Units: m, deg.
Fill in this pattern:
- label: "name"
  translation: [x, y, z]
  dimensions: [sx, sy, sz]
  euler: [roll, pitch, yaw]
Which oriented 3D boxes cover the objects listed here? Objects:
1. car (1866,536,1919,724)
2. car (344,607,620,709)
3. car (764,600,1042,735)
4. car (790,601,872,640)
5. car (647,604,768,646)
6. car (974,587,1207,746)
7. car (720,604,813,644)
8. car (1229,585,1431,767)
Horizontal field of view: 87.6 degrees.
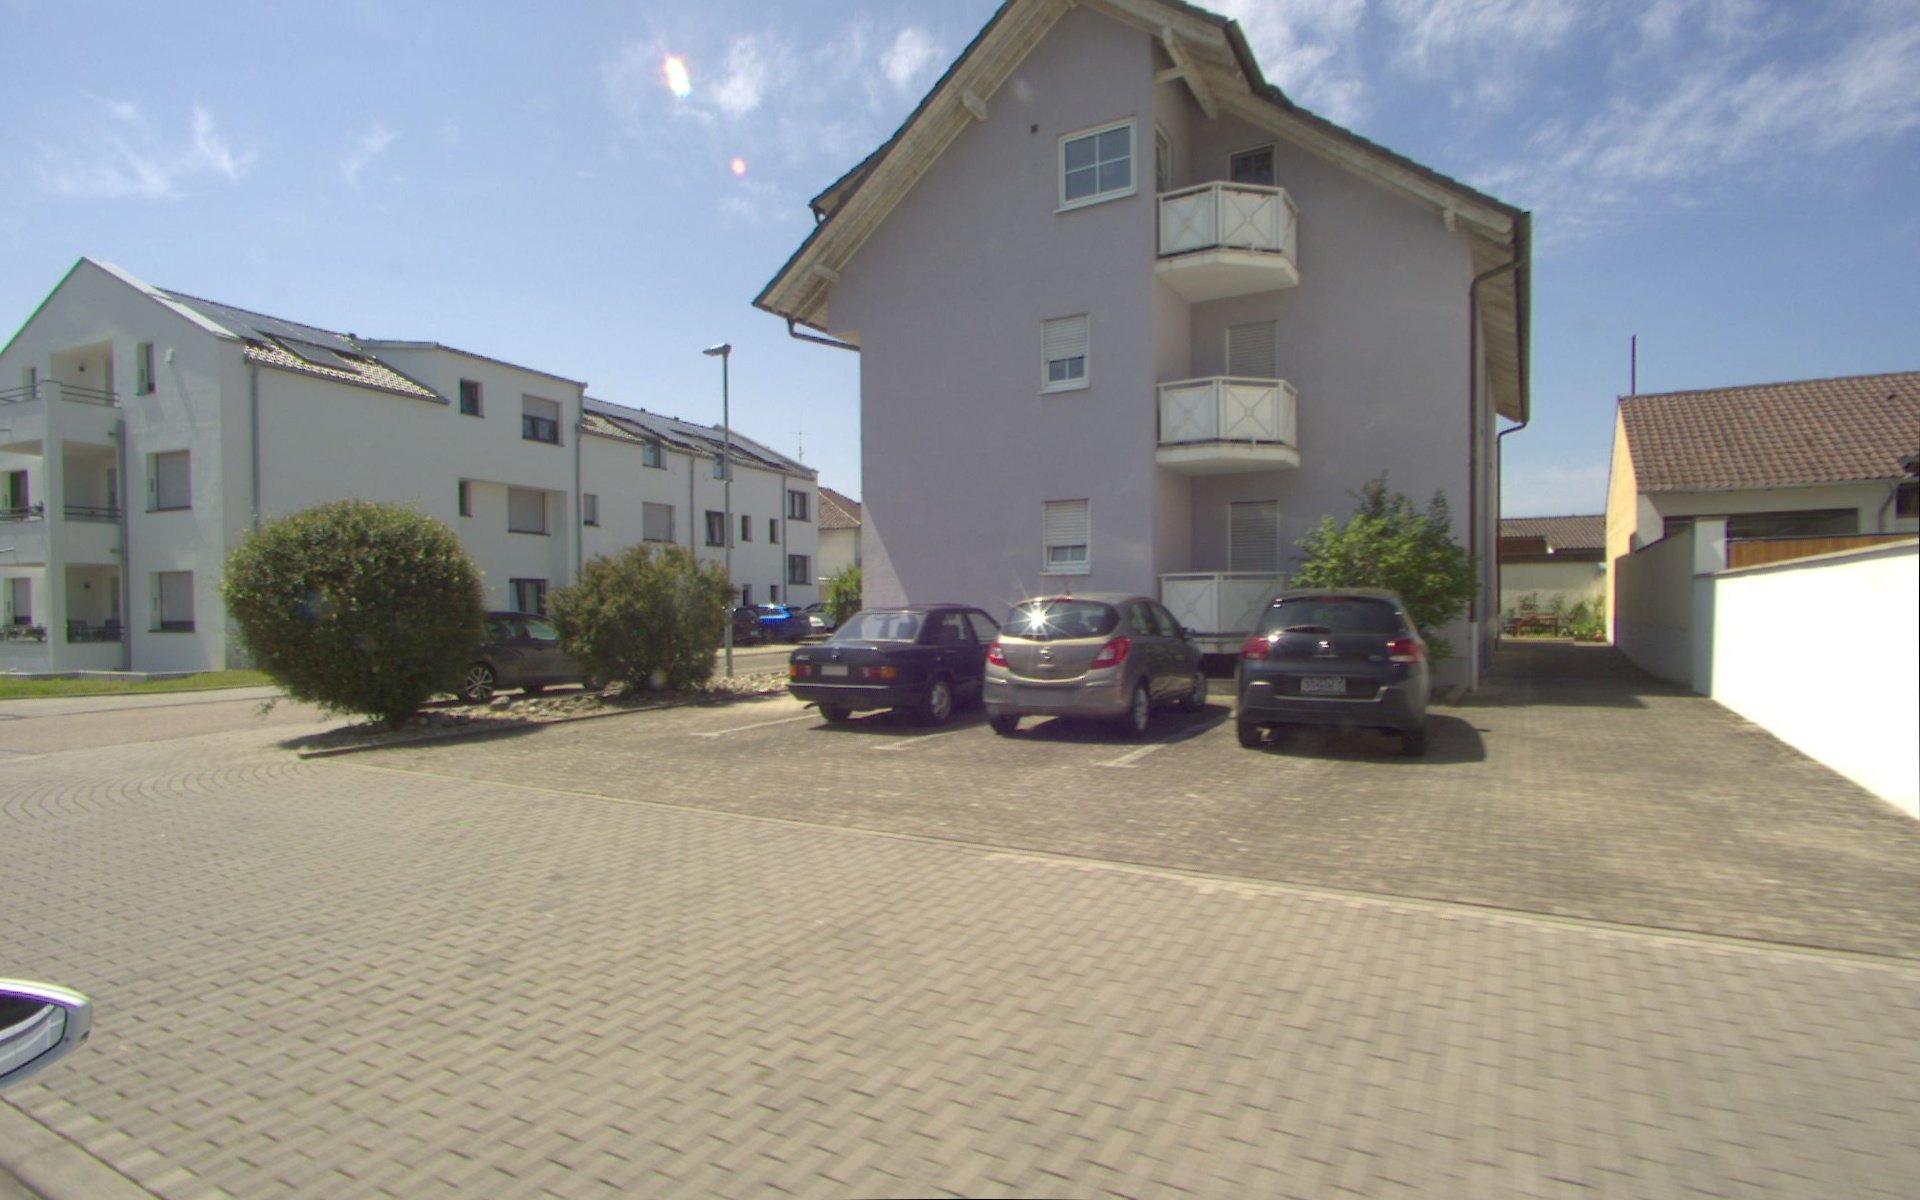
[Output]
- label: "car"
  translation: [10.108, 0.289, 9.308]
  dimensions: [1.744, 1.836, 3.382]
  euler: [0, 0, 29]
- label: "car"
  translation: [-7.851, 0.869, 16.850]
  dimensions: [1.728, 1.487, 3.990]
  euler: [0, 0, 26]
- label: "car"
  translation: [-0.509, 0.707, 12.584]
  dimensions: [1.638, 1.392, 4.199]
  euler: [0, 0, 26]
- label: "car"
  translation: [-5.458, 0.838, 42.501]
  dimensions: [3.162, 1.597, 1.459]
  euler: [0, 0, 22]
- label: "car"
  translation: [-9.000, 0.870, 35.701]
  dimensions: [3.940, 1.431, 1.751]
  euler: [0, 0, 24]
- label: "car"
  translation: [1.635, 0.642, 11.492]
  dimensions: [1.638, 1.514, 3.443]
  euler: [0, 0, 27]
- label: "car"
  translation: [-7.252, 0.880, 37.548]
  dimensions: [3.162, 1.460, 1.459]
  euler: [0, 0, 22]
- label: "car"
  translation: [3.879, 0.638, 10.276]
  dimensions: [1.637, 1.516, 3.500]
  euler: [0, 0, 24]
